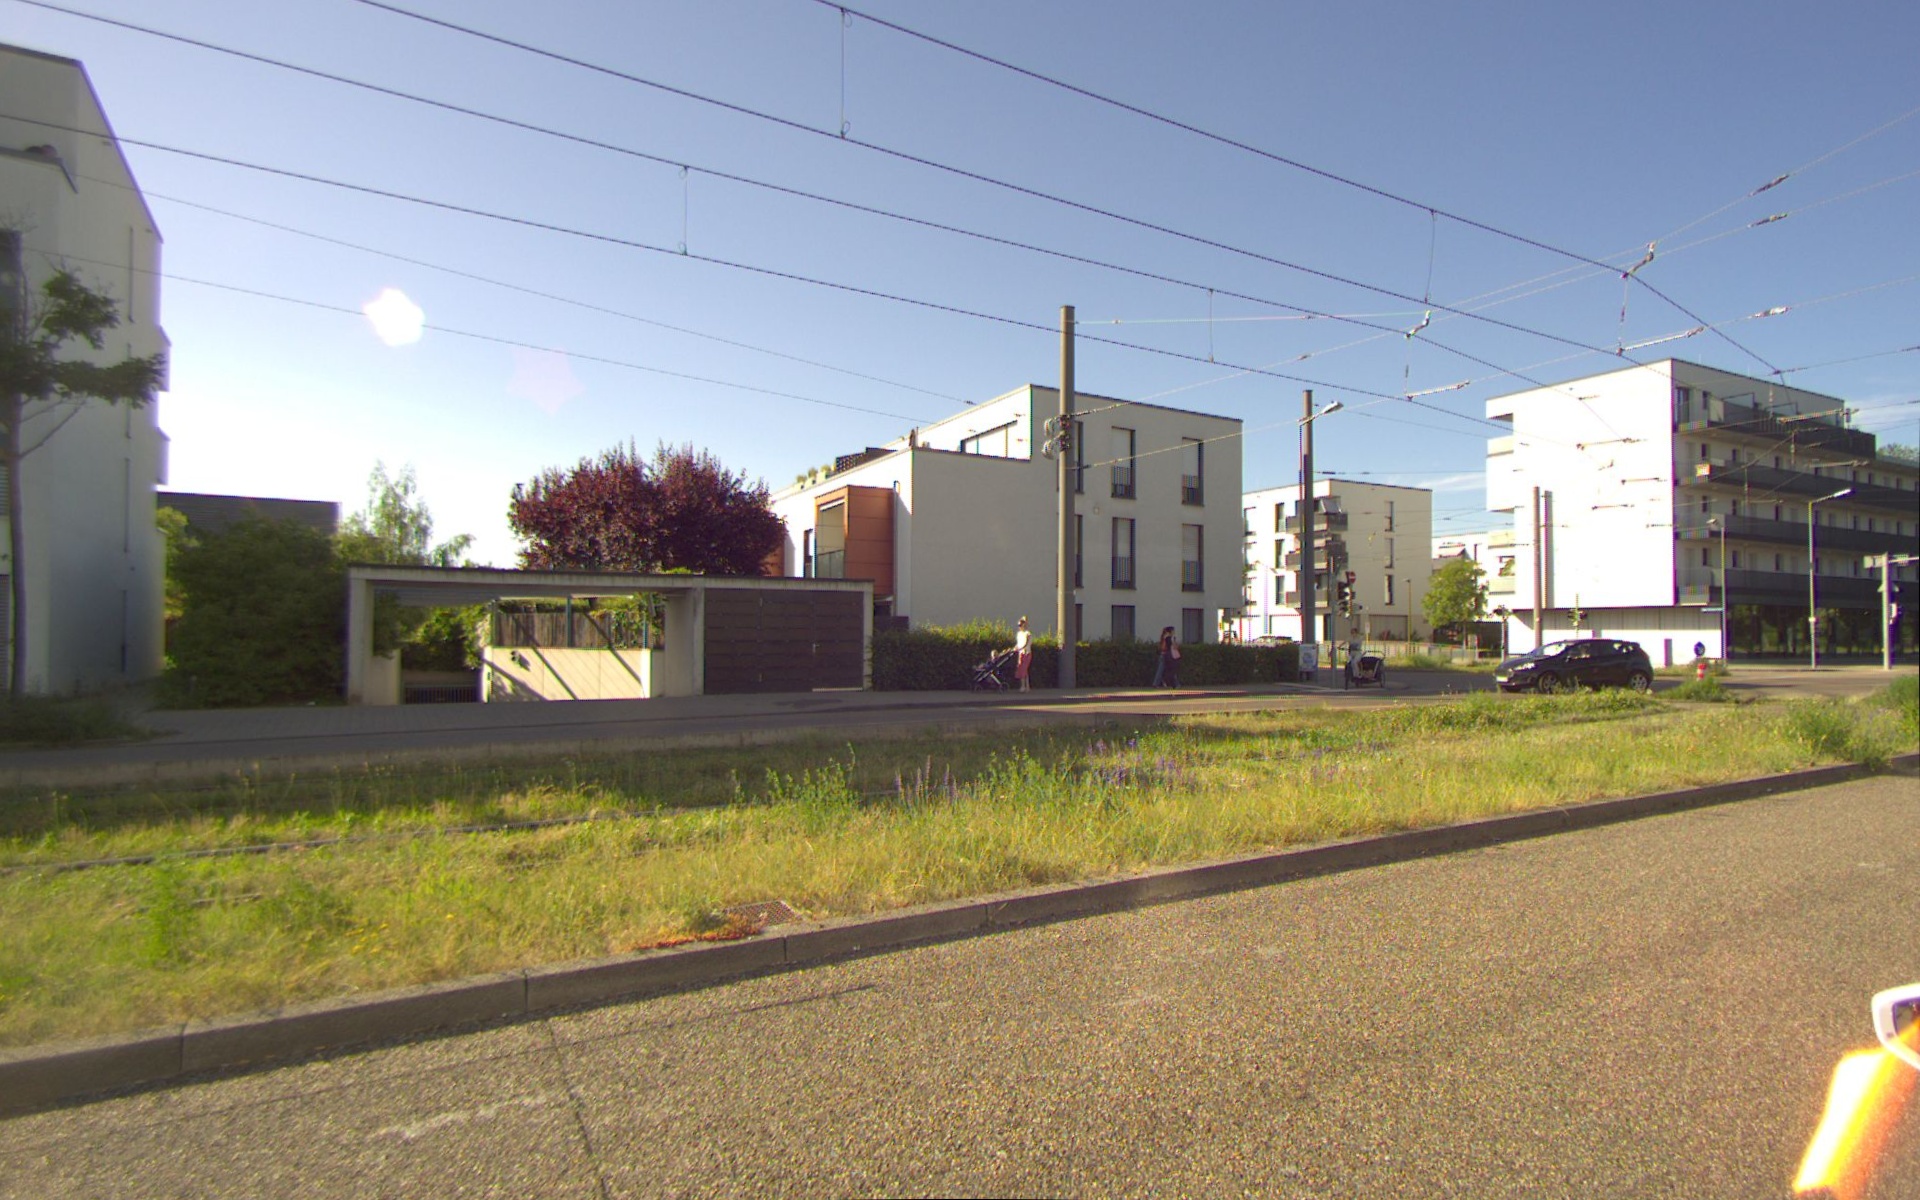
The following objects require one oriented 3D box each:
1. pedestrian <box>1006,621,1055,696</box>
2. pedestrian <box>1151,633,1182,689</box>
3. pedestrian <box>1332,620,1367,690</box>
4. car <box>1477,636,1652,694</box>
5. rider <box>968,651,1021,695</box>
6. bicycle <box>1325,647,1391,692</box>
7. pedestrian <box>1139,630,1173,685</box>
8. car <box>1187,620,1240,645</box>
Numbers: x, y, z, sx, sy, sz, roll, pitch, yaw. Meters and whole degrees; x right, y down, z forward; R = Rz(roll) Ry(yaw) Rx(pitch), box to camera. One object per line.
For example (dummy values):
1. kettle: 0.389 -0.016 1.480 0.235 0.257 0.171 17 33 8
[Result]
1. pedestrian: 1.731 1.422 24.637 0.897 1.771 0.813 1 0 -25
2. pedestrian: 5.604 1.632 27.220 0.604 1.483 0.554 1 0 -30
3. pedestrian: 11.640 1.634 30.005 0.665 2.040 0.753 1 0 -43
4. car: 16.267 1.749 27.145 3.667 1.449 1.709 -1 -3 -3
5. rider: 0.836 1.748 24.214 1.031 1.016 0.775 1 0 -25
6. bicycle: 12.083 2.074 30.435 2.684 1.238 0.786 1 -1 -44
7. pedestrian: 5.427 1.571 27.770 0.733 1.483 0.555 1 0 -28
8. car: 20.634 2.632 81.967 1.977 1.862 3.967 1 -1 -31
